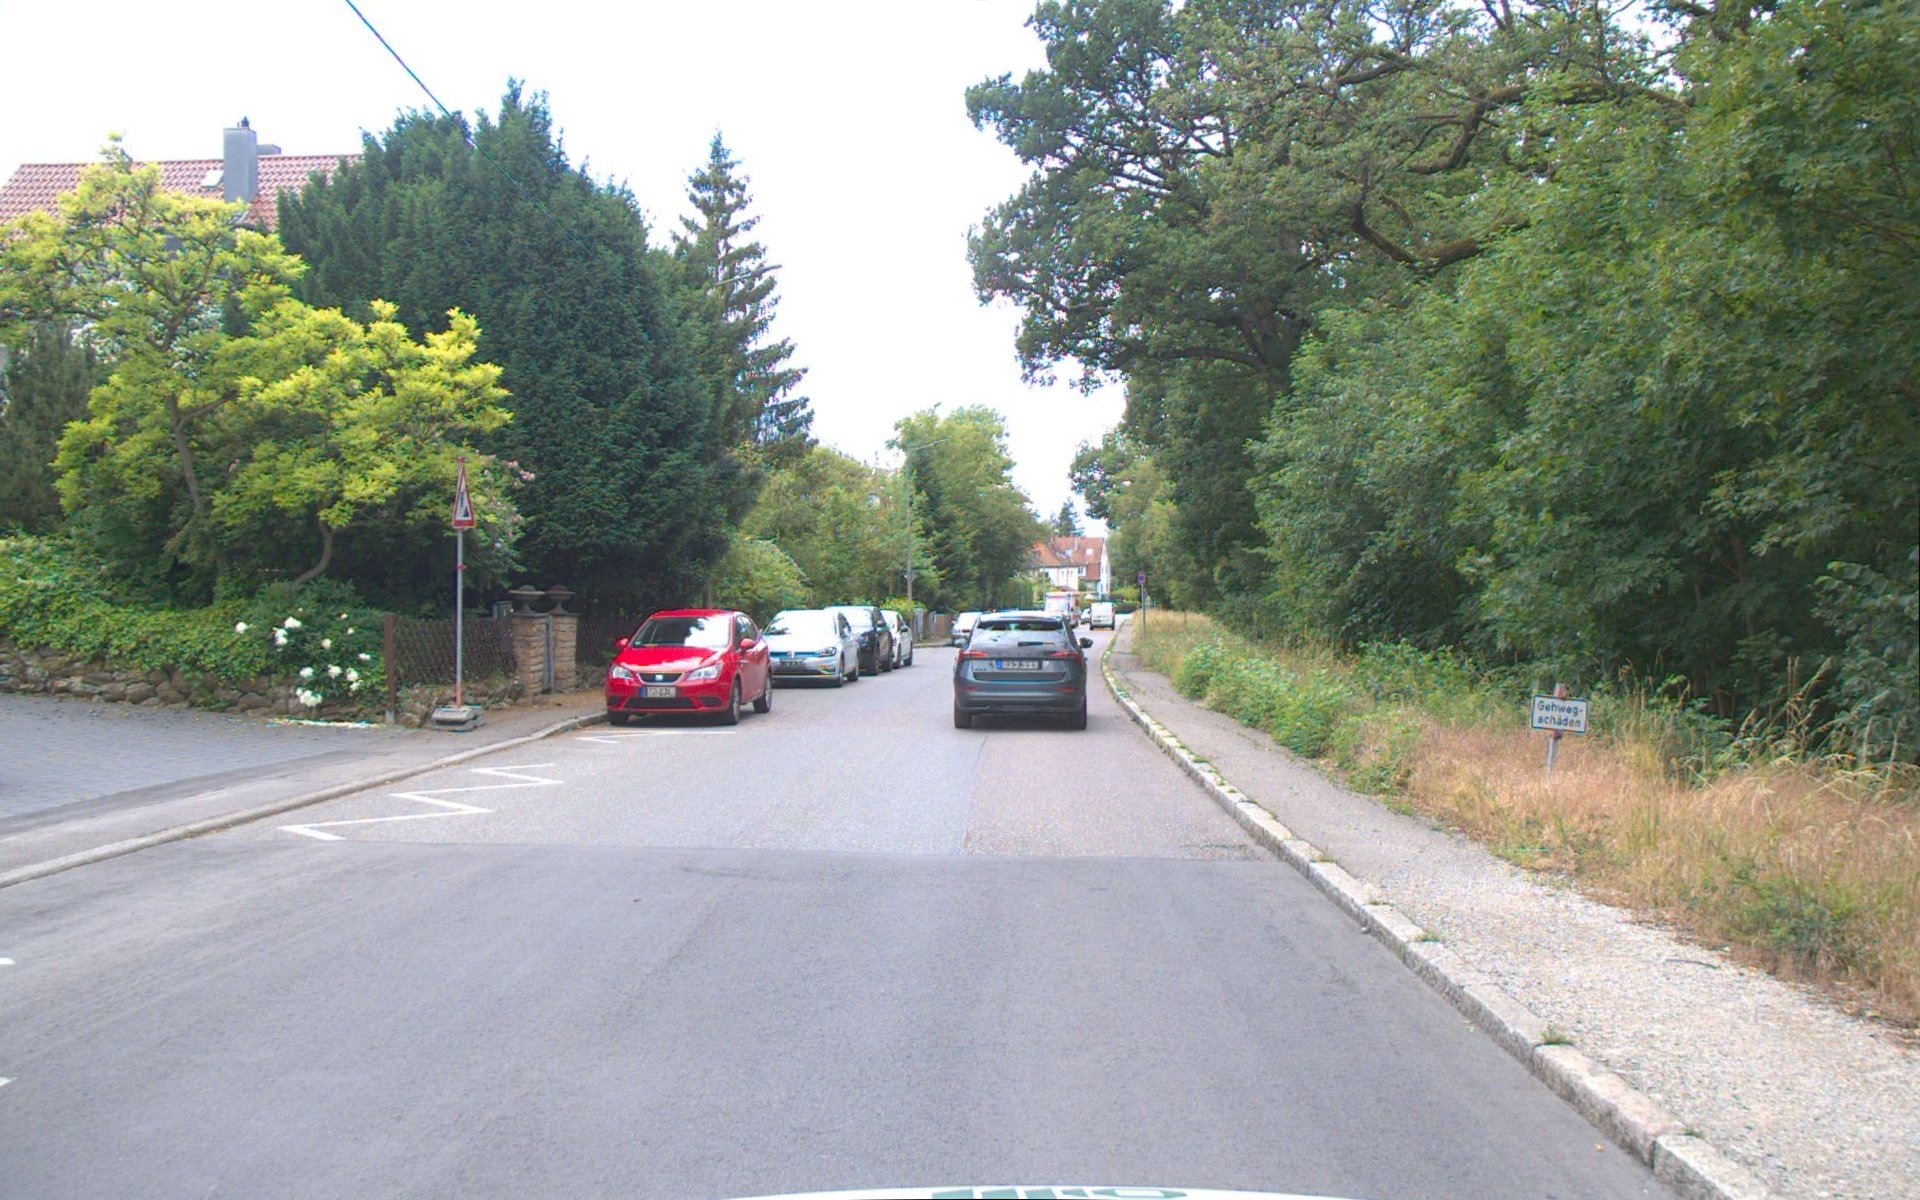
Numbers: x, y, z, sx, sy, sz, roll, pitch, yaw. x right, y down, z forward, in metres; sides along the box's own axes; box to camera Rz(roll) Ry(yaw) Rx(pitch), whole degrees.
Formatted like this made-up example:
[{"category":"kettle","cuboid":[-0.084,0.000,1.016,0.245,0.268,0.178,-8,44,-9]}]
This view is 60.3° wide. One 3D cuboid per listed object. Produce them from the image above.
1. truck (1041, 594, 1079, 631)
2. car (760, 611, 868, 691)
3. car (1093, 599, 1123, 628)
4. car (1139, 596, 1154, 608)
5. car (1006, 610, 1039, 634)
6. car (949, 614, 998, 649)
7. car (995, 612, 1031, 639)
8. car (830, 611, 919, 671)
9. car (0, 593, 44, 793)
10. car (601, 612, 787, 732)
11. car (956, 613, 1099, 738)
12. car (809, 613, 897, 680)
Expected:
[{"category":"truck","cuboid":[8.102,0.916,132.865,2.705,2.842,9.274,0,0,5]},{"category":"car","cuboid":[-2.809,0.963,32.510,1.713,1.429,4.000,1,0,0]},{"category":"car","cuboid":[10.967,0.995,123.273,2.159,2.100,6.138,0,0,4]},{"category":"car","cuboid":[23.799,0.274,211.571,1.698,1.472,4.002,1,0,3]},{"category":"car","cuboid":[3.810,1.317,100.393,1.712,1.429,4.002,1,0,5]},{"category":"car","cuboid":[0.590,1.323,70.439,1.712,1.429,4.002,1,0,5]},{"category":"car","cuboid":[2.900,1.362,89.888,1.712,1.429,4.002,1,0,5]},{"category":"car","cuboid":[-2.148,1.026,42.746,1.712,1.429,4.002,1,0,5]},{"category":"car","cuboid":[-9.235,0.645,11.763,4.387,1.466,1.879,1,0,2]},{"category":"car","cuboid":[-3.461,0.890,22.189,1.601,1.429,4.002,1,0,3]},{"category":"car","cuboid":[0.835,0.928,22.079,1.699,1.472,4.180,1,0,0]},{"category":"car","cuboid":[-2.417,1.030,38.158,1.713,1.429,4.000,1,0,0]}]
